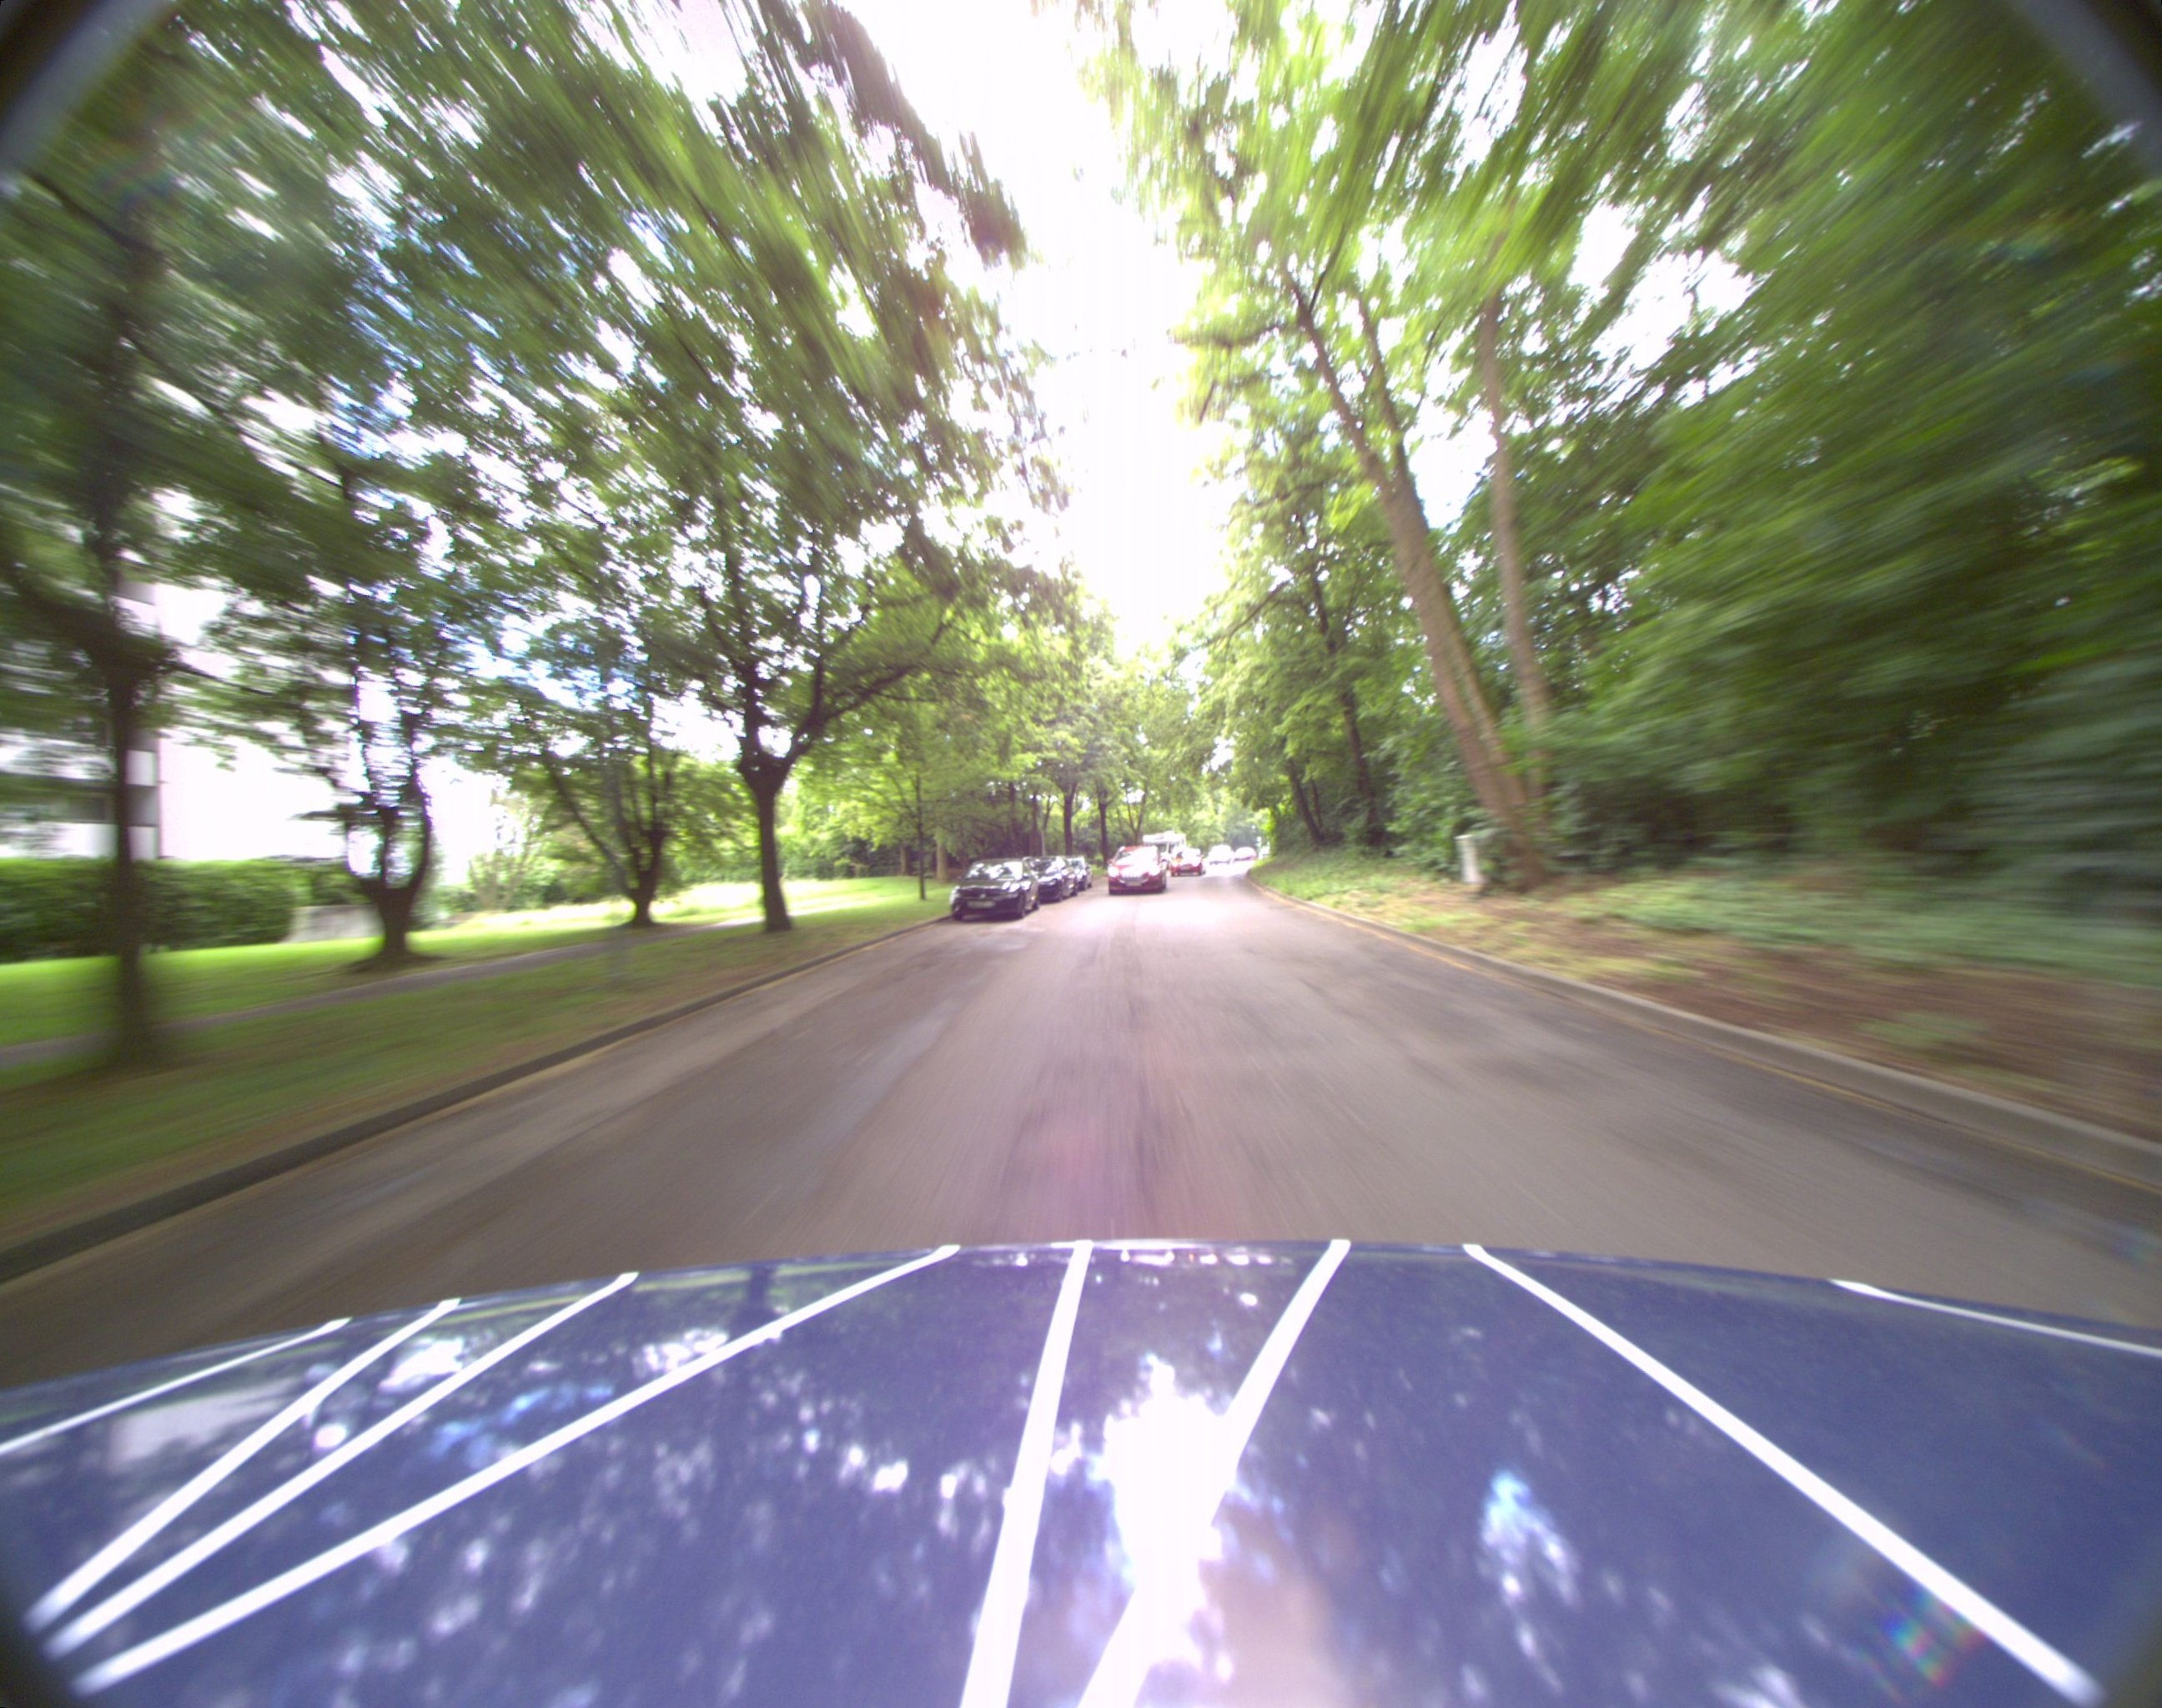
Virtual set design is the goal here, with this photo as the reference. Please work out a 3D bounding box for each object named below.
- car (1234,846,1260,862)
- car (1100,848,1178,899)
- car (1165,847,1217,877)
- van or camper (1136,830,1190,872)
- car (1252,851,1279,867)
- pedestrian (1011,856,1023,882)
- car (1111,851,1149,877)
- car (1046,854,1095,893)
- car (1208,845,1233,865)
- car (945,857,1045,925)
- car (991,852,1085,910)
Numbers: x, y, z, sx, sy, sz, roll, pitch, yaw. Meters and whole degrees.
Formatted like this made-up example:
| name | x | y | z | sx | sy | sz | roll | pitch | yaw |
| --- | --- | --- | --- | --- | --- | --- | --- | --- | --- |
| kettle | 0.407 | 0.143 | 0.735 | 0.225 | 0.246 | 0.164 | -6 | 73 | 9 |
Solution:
| name | x | y | z | sx | sy | sz | roll | pitch | yaw |
| --- | --- | --- | --- | --- | --- | --- | --- | --- | --- |
| car | 19.392 | -0.017 | 88.627 | 1.712 | 1.543 | 4.685 | -4 | 0 | 29 |
| car | 2.211 | 0.636 | 27.698 | 2.001 | 1.599 | 4.682 | -4 | 0 | 14 |
| car | 6.336 | 0.395 | 43.172 | 1.955 | 1.464 | 4.683 | -4 | 0 | 19 |
| van or camper | 6.578 | -0.304 | 59.994 | 2.427 | 2.962 | 7.403 | -4 | 0 | 19 |
| car | 21.065 | 0.553 | 86.562 | 1.765 | 1.559 | 4.053 | -3 | 0 | 31 |
| pedestrian | -4.157 | 0.968 | 49.359 | 0.582 | 1.642 | 0.873 | -4 | 0 | 4 |
| car | 3.185 | 0.617 | 48.524 | 1.691 | 1.474 | 4.110 | -4 | 0 | 13 |
| car | -0.359 | 0.753 | 30.819 | 1.592 | 1.457 | 4.318 | -2 | 0 | 4 |
| car | 12.163 | 0.082 | 66.430 | 1.654 | 1.559 | 4.047 | -4 | 0 | 4 |
| car | -2.066 | 0.861 | 19.345 | 1.686 | 1.456 | 3.899 | -4 | 0 | 5 |
| car | -1.278 | 0.805 | 24.994 | 1.917 | 1.602 | 4.738 | -4 | 0 | 10 |
